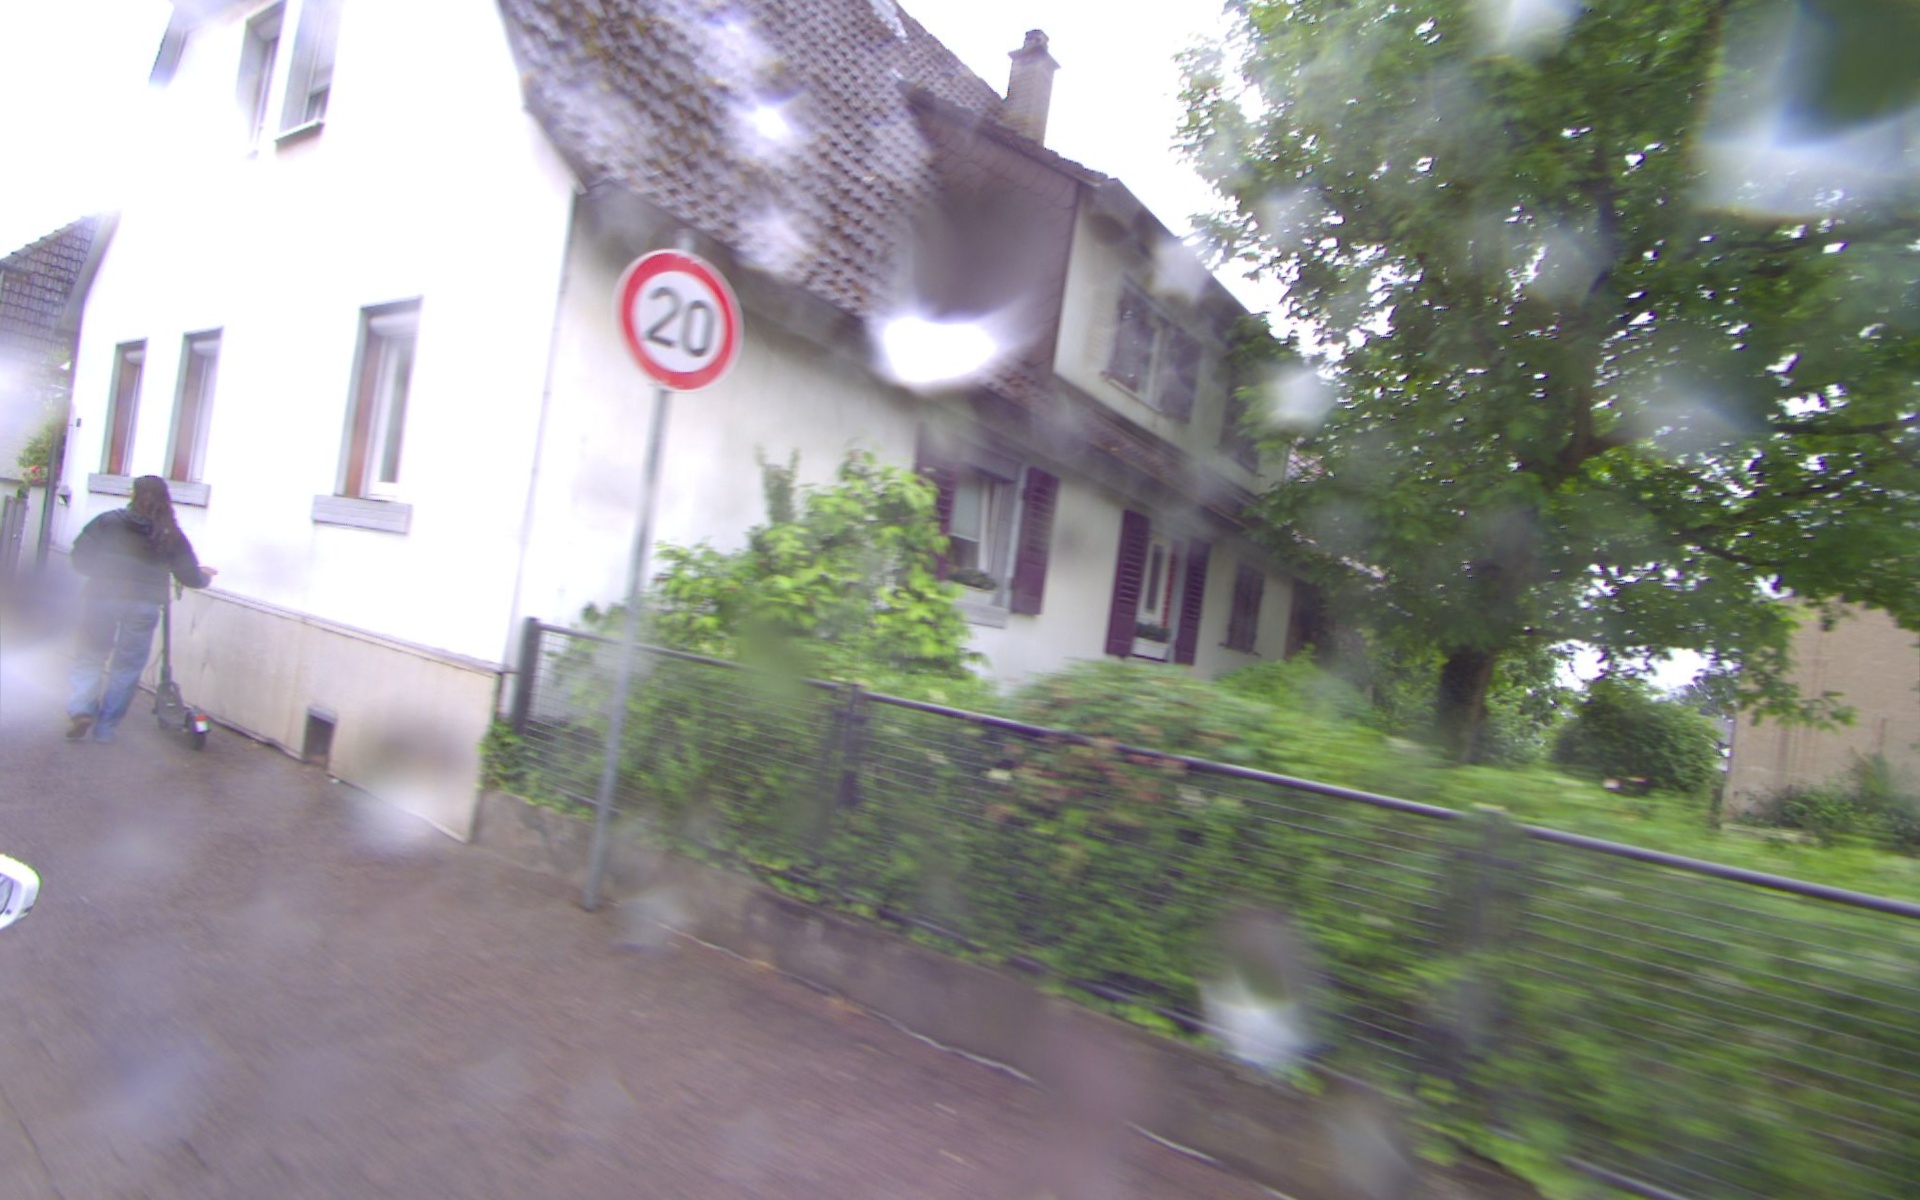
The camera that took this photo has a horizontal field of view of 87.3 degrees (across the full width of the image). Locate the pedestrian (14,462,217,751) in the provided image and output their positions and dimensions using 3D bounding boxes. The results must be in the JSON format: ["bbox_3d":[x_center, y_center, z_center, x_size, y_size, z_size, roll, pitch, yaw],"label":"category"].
[{"bbox_3d":[-5.543,0.044,6.606,0.808,1.753,0.694,7,0,37],"label":"pedestrian"}]

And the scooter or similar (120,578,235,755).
[{"bbox_3d":[-5.323,0.428,6.825,1.083,1.040,0.245,8,0,37],"label":"scooter or similar"}]
